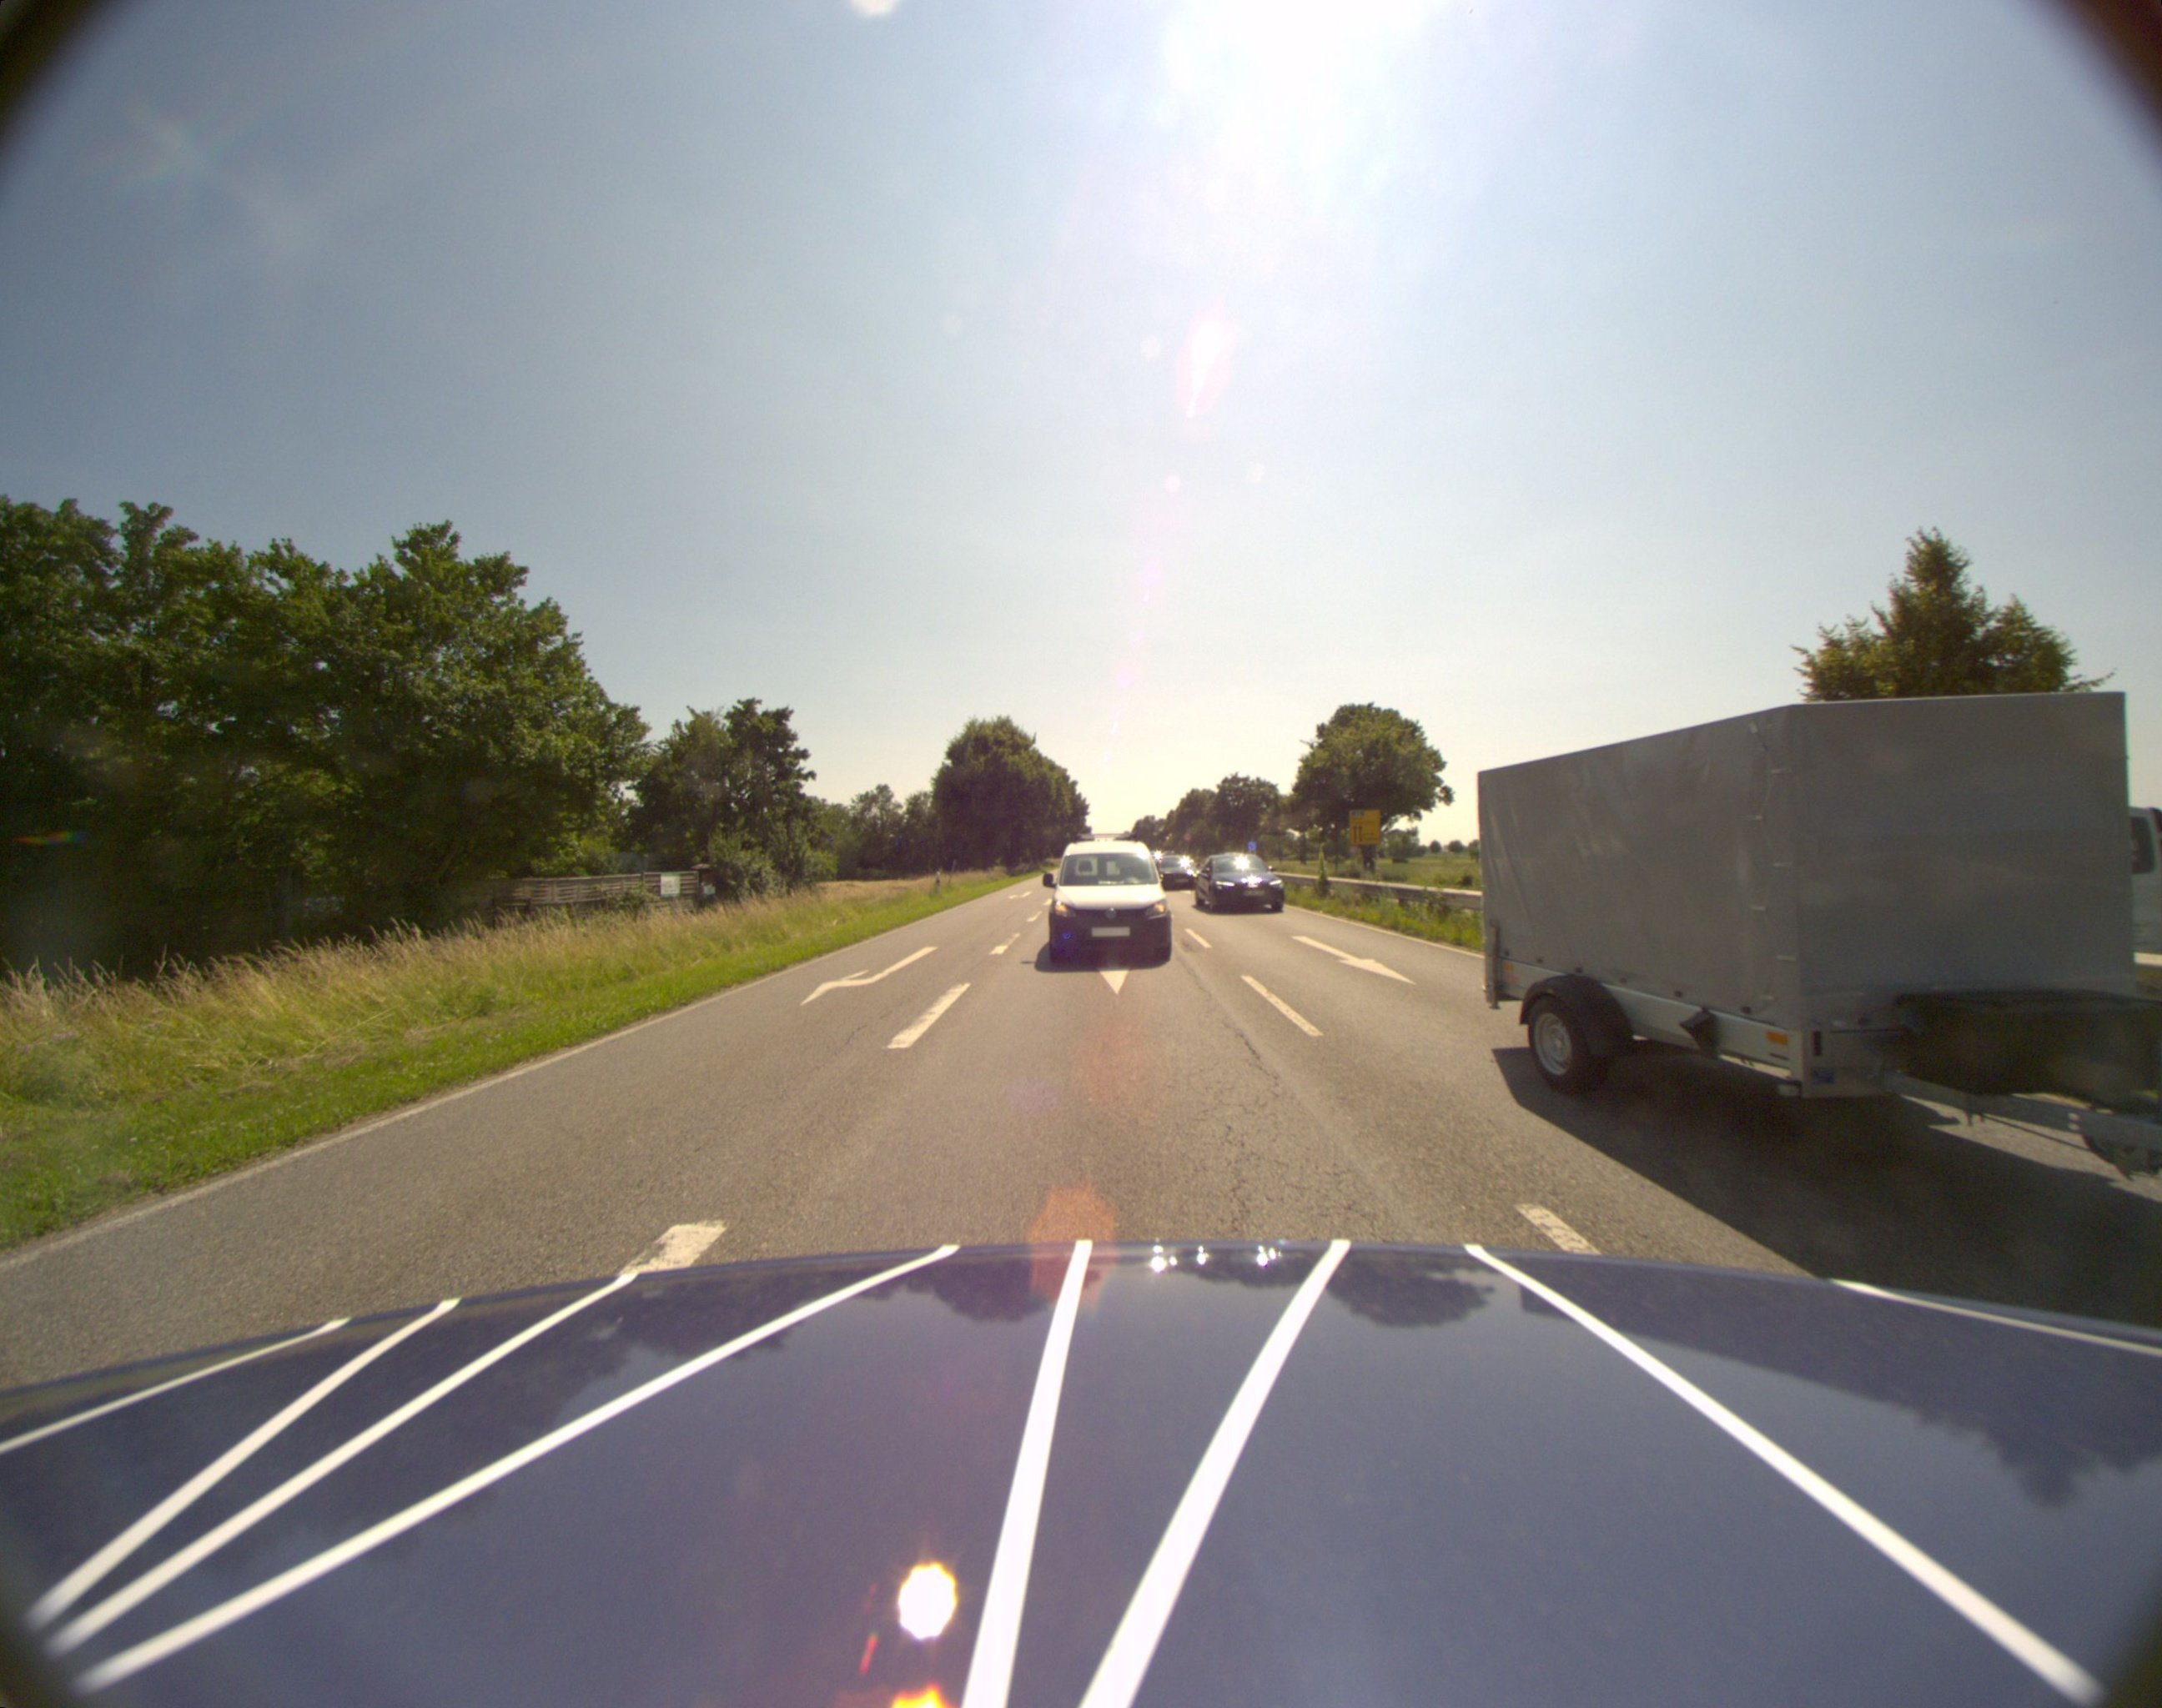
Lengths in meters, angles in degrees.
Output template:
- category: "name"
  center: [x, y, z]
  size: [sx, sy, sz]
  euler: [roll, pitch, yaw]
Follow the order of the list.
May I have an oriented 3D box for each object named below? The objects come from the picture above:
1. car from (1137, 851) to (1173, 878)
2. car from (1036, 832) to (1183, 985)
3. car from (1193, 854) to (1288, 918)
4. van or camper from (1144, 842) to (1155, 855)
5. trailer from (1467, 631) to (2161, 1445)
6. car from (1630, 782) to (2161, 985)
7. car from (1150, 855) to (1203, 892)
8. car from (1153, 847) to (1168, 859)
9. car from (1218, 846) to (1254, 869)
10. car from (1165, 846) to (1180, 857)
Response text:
- category: "car"
  center: [4.399, 0.597, 45.505]
  size: [1.860, 1.507, 4.100]
  euler: [-2, 0, 2]
- category: "car"
  center: [0.410, 0.672, 11.911]
  size: [1.777, 1.863, 4.581]
  euler: [-3, 0, 1]
- category: "car"
  center: [4.095, 0.762, 20.115]
  size: [1.721, 1.456, 4.030]
  euler: [-2, 0, 1]
- category: "van or camper"
  center: [17.365, -1.412, 194.135]
  size: [2.269, 3.081, 5.695]
  euler: [-1, 0, 0]
- category: "trailer"
  center: [3.656, 0.468, 3.688]
  size: [1.504, 2.160, 4.174]
  euler: [-2, 0, 2]
- category: "car"
  center: [9.983, 0.280, 9.929]
  size: [1.999, 1.969, 5.015]
  euler: [-1, 0, 0]
- category: "car"
  center: [3.958, 0.764, 32.244]
  size: [1.744, 1.372, 4.455]
  euler: [-2, 0, 1]
- category: "car"
  center: [11.389, -0.192, 109.044]
  size: [1.749, 1.629, 4.136]
  euler: [-1, 0, 3]
- category: "car"
  center: [11.101, 0.251, 54.620]
  size: [1.750, 1.608, 4.135]
  euler: [-1, 0, 0]
- category: "car"
  center: [16.056, -0.497, 133.370]
  size: [1.999, 1.919, 5.015]
  euler: [-1, 0, 0]
